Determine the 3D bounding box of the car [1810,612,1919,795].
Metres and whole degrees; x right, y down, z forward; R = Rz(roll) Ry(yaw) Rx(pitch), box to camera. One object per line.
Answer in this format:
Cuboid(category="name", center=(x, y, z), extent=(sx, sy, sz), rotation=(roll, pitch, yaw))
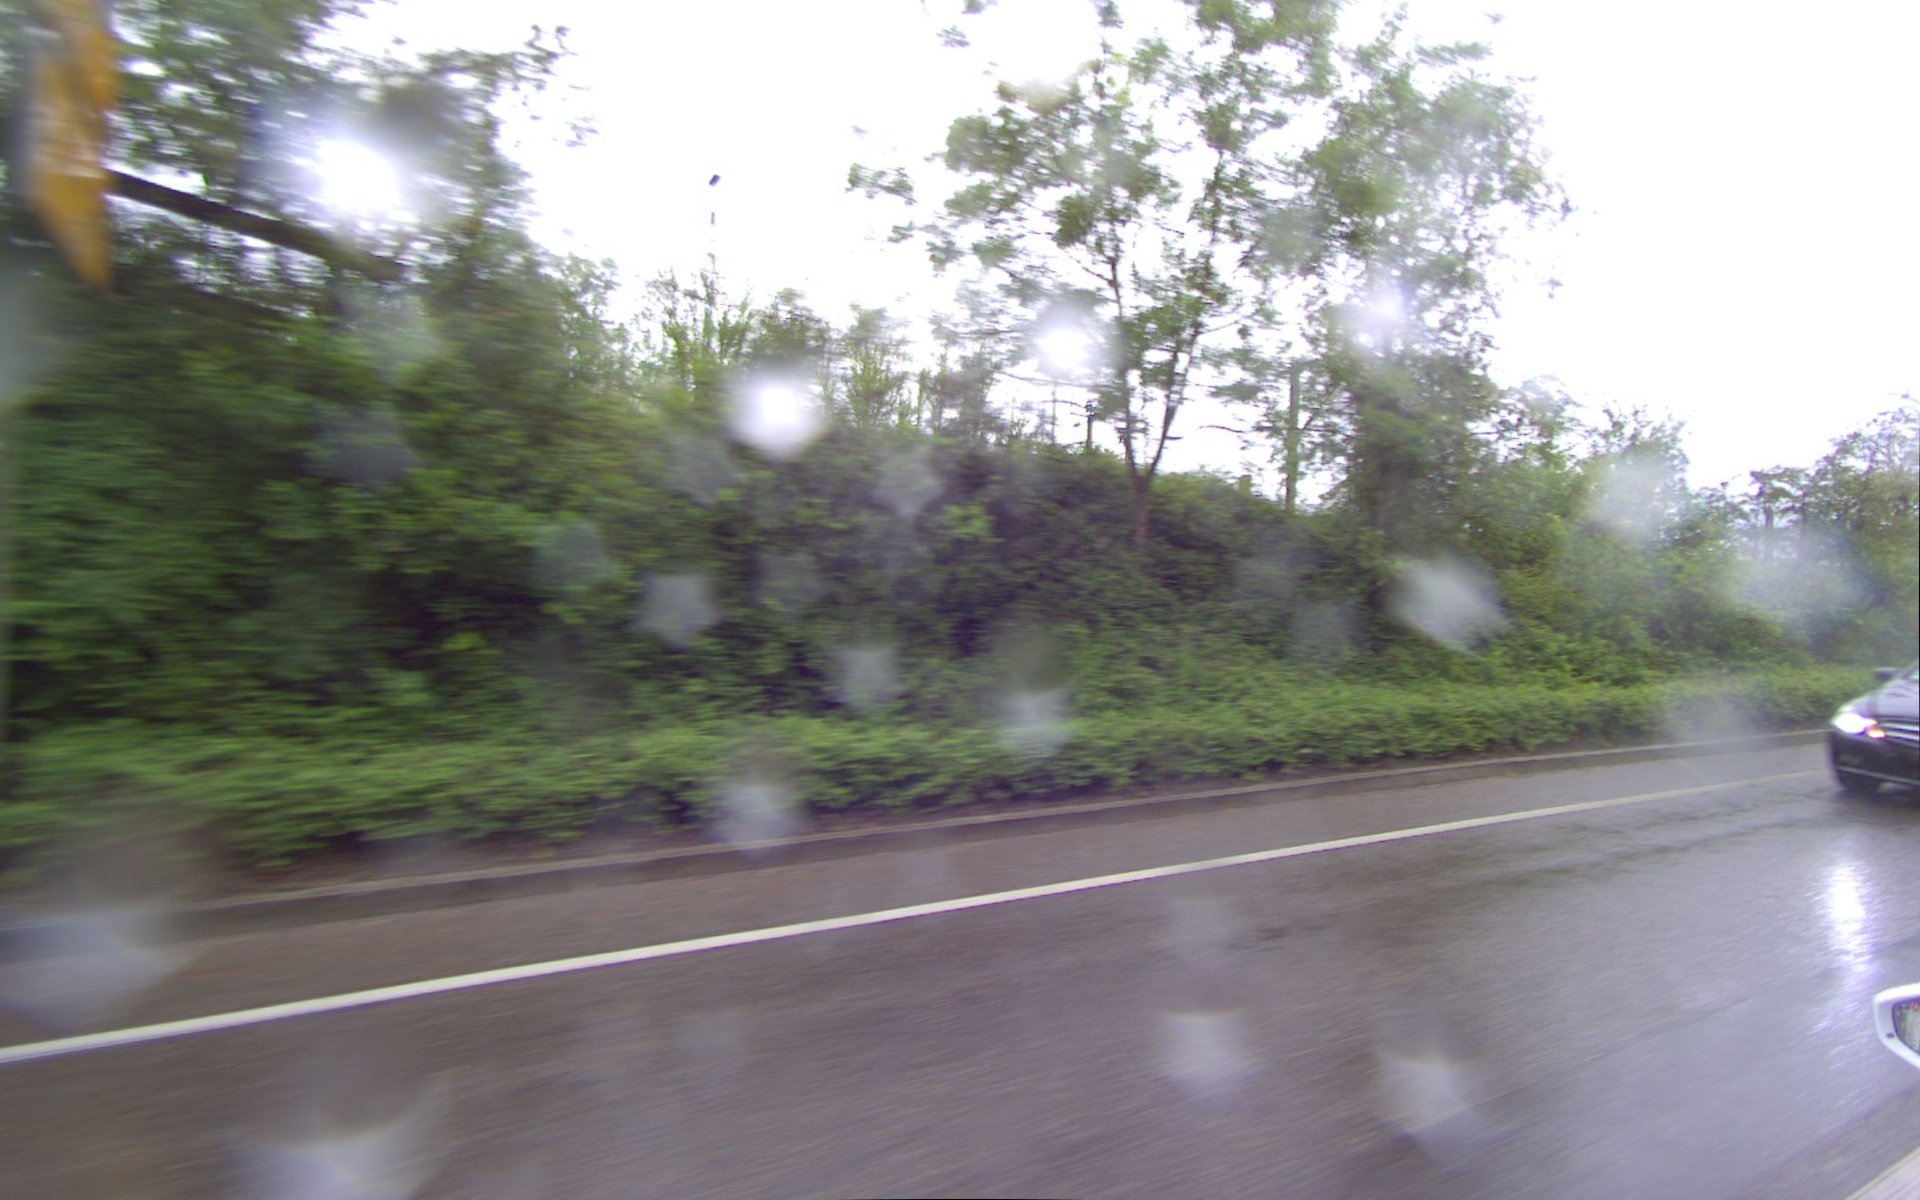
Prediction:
Cuboid(category="car", center=(9.628, 0.860, 9.005), extent=(4.328, 1.468, 1.855), rotation=(1, -1, -32))
